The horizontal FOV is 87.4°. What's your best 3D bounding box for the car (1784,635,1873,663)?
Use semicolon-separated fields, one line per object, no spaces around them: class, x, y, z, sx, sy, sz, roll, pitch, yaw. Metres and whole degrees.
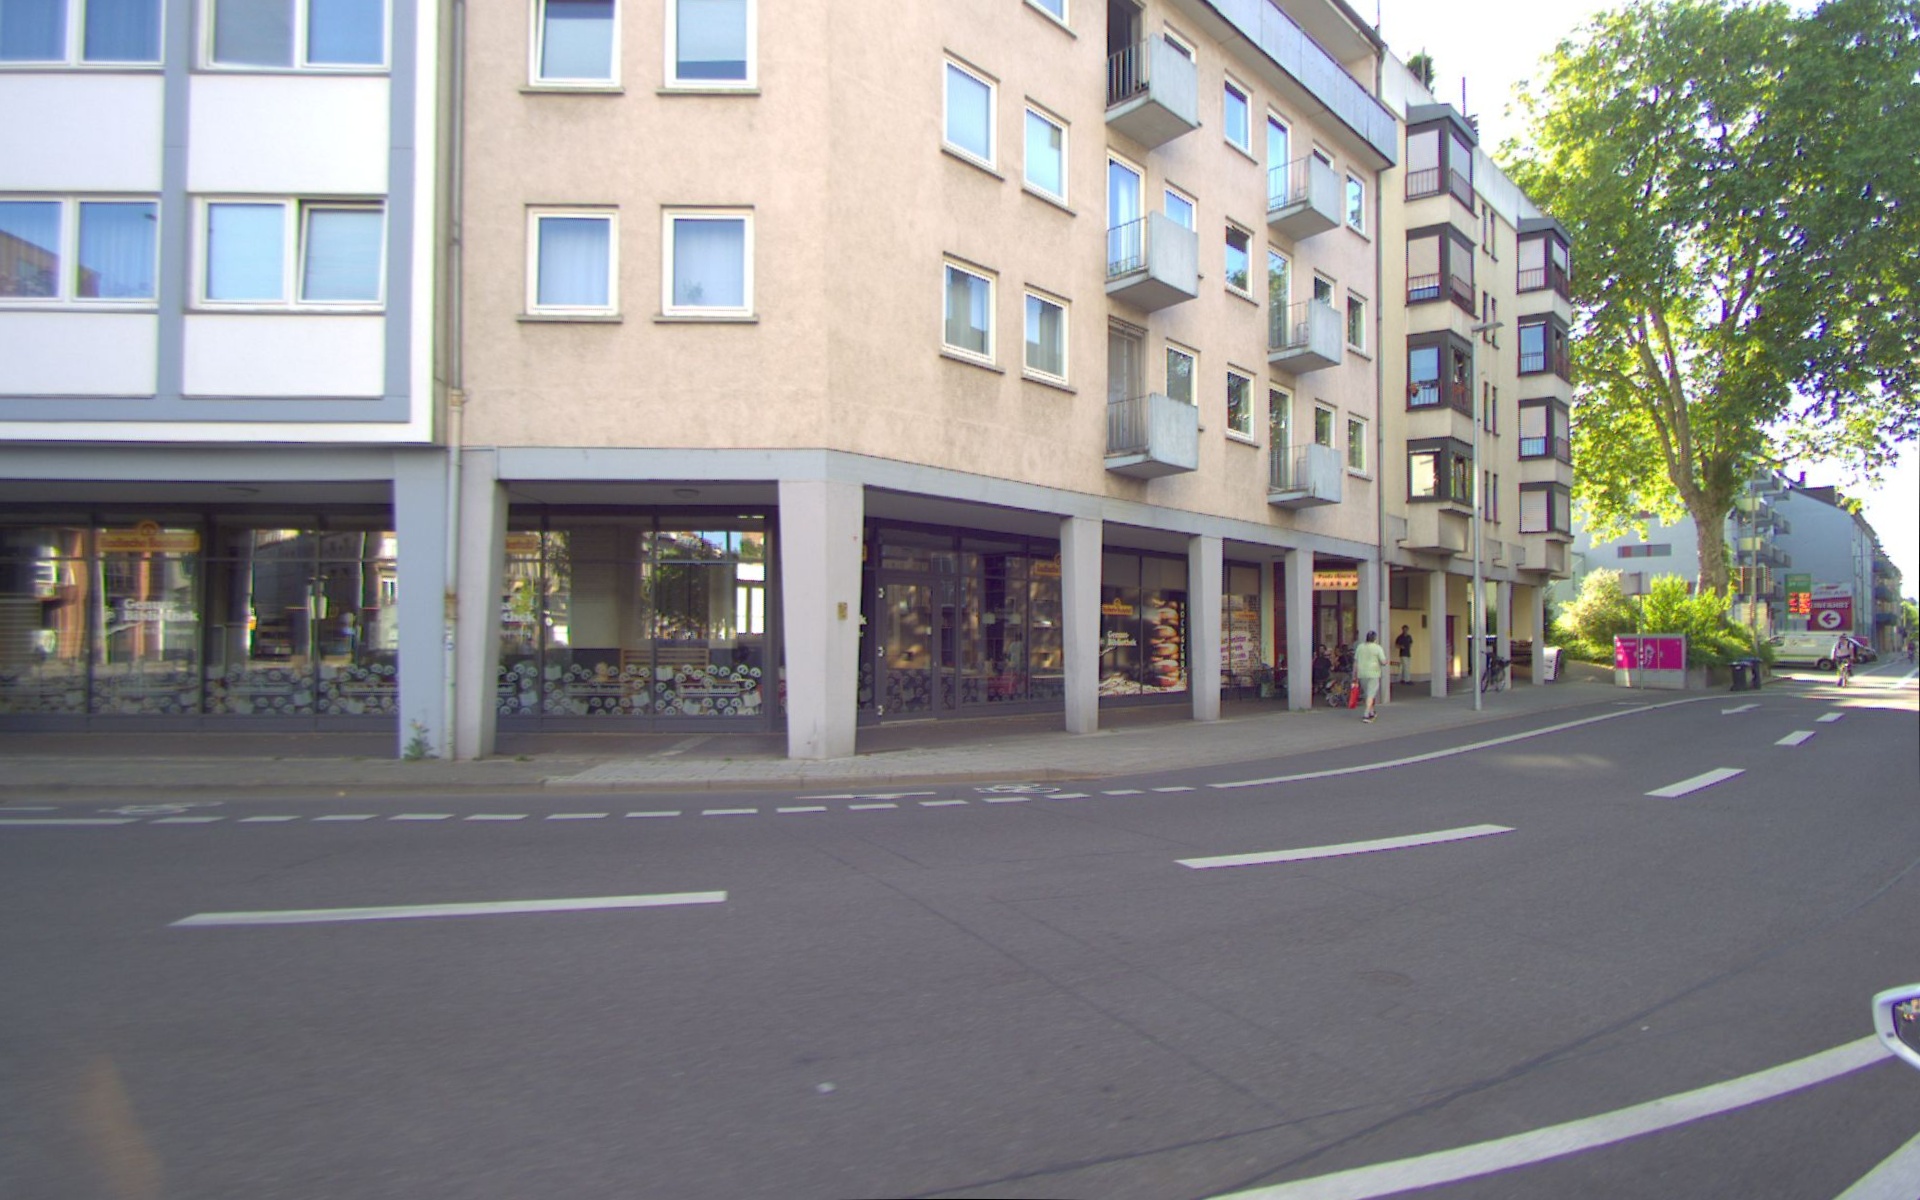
car;51.780;2.895;59.947;3.944;1.617;1.989;-2;-3;43

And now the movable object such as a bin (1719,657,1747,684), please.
movable object such as a bin;26.008;2.359;33.797;0.576;0.863;0.679;1;0;-45

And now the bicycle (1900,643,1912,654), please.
bicycle;71.128;3.648;75.559;0.535;0.854;1.598;-1;-2;39

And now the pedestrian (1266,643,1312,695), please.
pedestrian;8.485;1.758;25.887;0.849;1.282;0.824;2;-2;-44

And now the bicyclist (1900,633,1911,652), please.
bicyclist;71.141;3.171;75.586;0.535;1.412;0.506;-1;-2;40

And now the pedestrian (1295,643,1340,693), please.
pedestrian;9.479;1.780;26.637;0.849;1.282;0.824;2;-2;-44

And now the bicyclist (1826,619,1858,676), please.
bicyclist;31.231;1.674;35.565;0.806;1.973;0.853;-1;-2;41

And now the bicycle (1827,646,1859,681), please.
bicycle;31.210;2.226;35.529;0.806;1.154;2.327;-1;-2;40

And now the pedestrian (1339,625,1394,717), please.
pedestrian;7.961;1.362;19.672;0.796;1.747;0.772;0;-1;42

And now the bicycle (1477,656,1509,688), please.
bicycle;15.673;2.101;29.529;0.385;0.889;1.603;3;0;43

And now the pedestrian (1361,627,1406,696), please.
pedestrian;10.986;1.578;26.042;0.842;1.747;0.830;0;-1;42

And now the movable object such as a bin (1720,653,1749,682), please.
movable object such as a bin;26.417;2.294;34.260;0.576;0.919;0.679;1;0;-45

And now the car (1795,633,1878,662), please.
car;55.801;2.979;63.968;3.944;1.766;1.989;-2;-3;43

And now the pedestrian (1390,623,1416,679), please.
pedestrian;13.879;1.589;31.461;0.620;1.747;0.576;2;-1;-45

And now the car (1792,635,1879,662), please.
car;54.055;2.978;62.051;3.944;1.617;1.989;-2;-3;43

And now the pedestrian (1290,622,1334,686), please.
pedestrian;9.804;1.484;27.985;0.845;1.747;0.827;1;-1;-32

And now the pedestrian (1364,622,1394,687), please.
pedestrian;11.919;1.539;28.581;0.606;1.819;0.652;0;-1;42

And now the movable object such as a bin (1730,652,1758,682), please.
movable object such as a bin;27.242;2.326;34.904;0.592;0.978;0.696;1;0;-45

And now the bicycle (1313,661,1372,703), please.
bicycle;8.879;1.876;23.279;1.604;0.896;0.628;2;-3;-42

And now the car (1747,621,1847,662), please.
car;47.564;2.347;57.104;4.256;2.255;1.989;-2;-2;43
